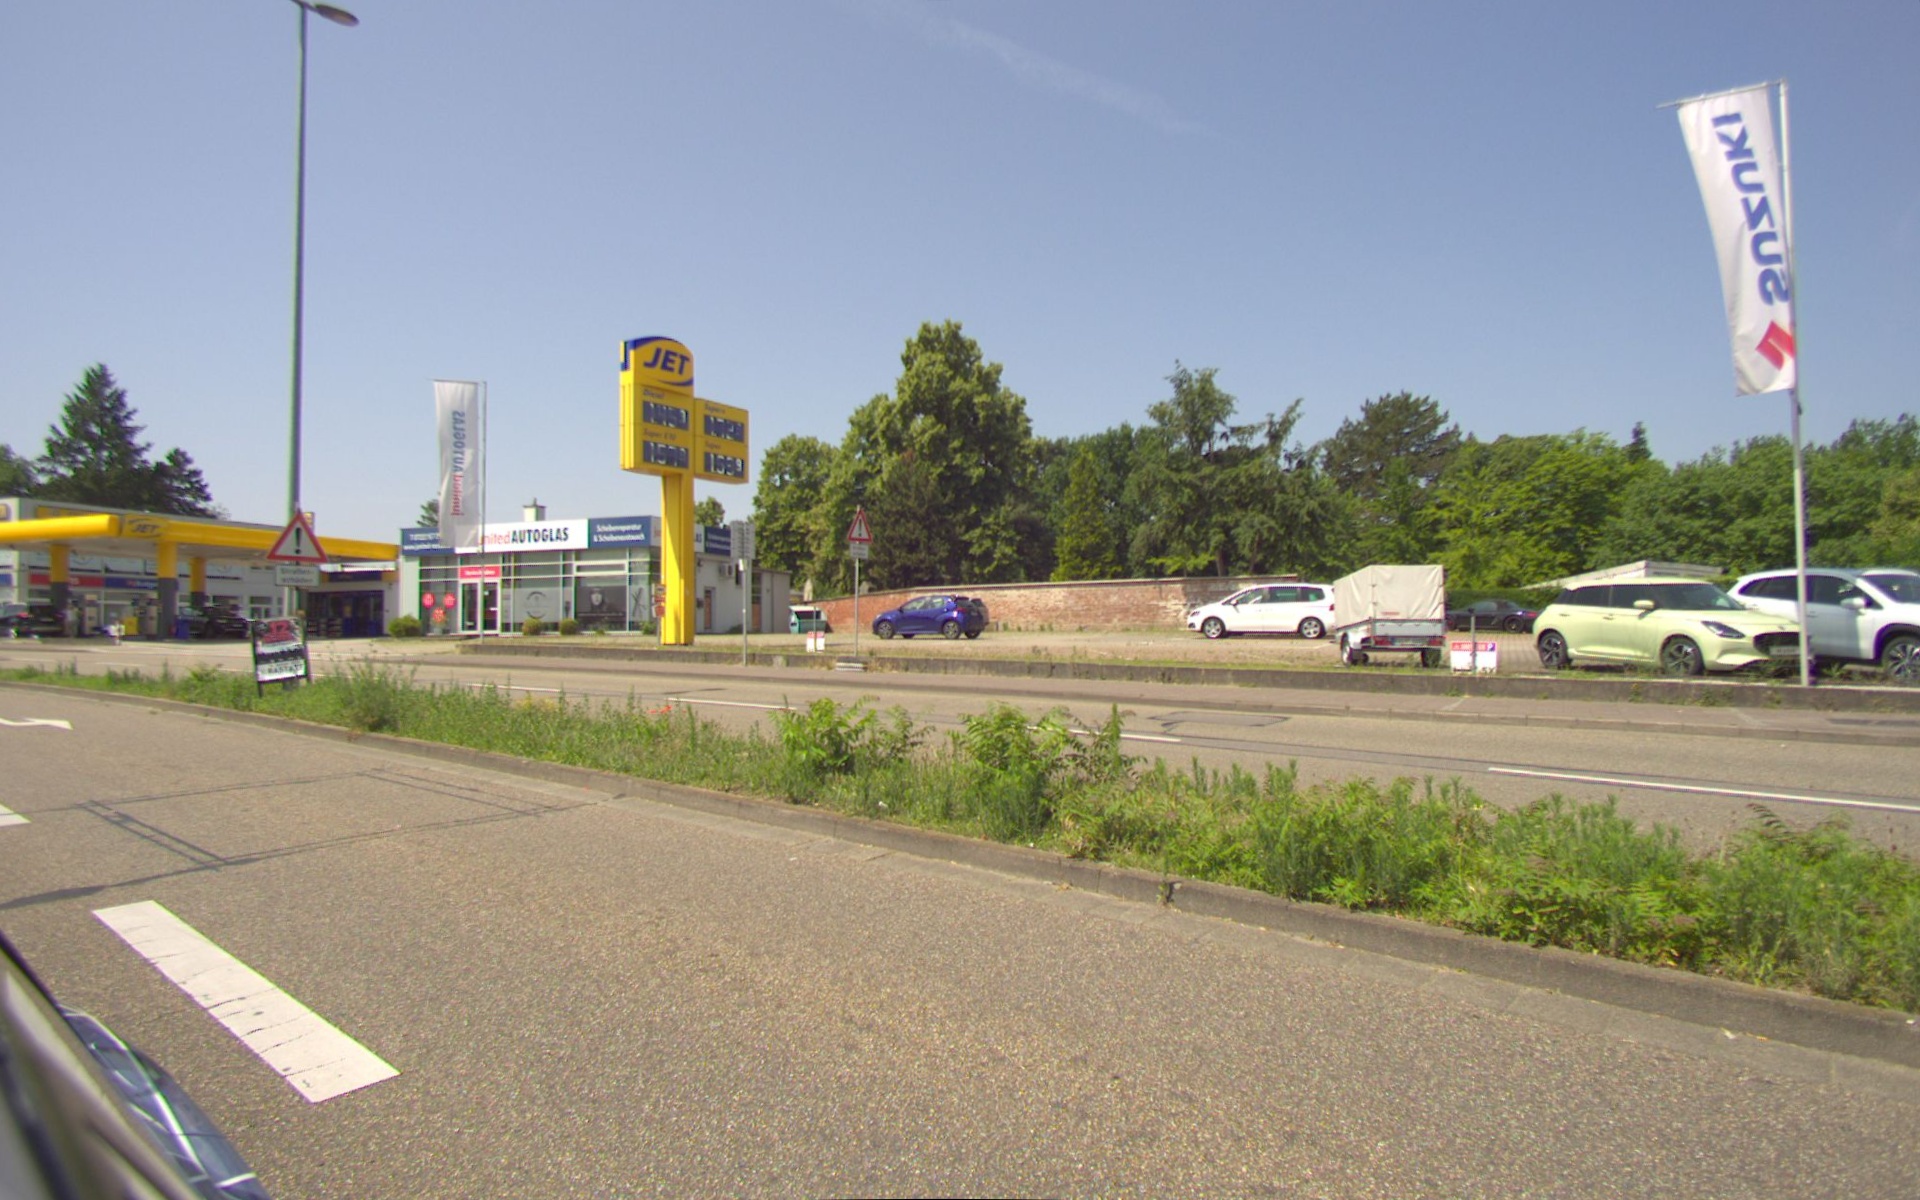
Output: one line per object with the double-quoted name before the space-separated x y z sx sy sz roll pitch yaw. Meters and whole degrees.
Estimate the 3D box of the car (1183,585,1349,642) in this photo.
"car" 9.425 0.415 31.260 4.730 1.662 1.680 -1 -1 25

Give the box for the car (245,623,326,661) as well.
"car" -37.353 2.292 56.047 3.978 2.029 1.983 -1 0 26

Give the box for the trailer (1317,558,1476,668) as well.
"trailer" 7.296 0.220 17.135 1.671 1.717 2.433 -1 0 2

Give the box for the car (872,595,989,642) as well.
"car" -1.013 0.639 34.375 3.613 1.517 1.679 -1 -1 27

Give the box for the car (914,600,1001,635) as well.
"car" -0.118 0.806 45.898 3.613 1.517 1.605 -1 -1 27

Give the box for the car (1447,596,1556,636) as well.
"car" 19.672 0.566 36.807 3.341 1.384 1.637 -1 0 34

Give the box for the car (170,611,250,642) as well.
"car" -39.178 1.377 52.857 4.190 1.554 1.642 -1 0 26

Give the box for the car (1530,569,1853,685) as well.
"car" 10.819 0.356 15.351 1.729 1.521 3.828 -1 0 -10

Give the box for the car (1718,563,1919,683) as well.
"car" 13.241 0.284 14.258 1.889 1.552 3.967 -1 0 -5
